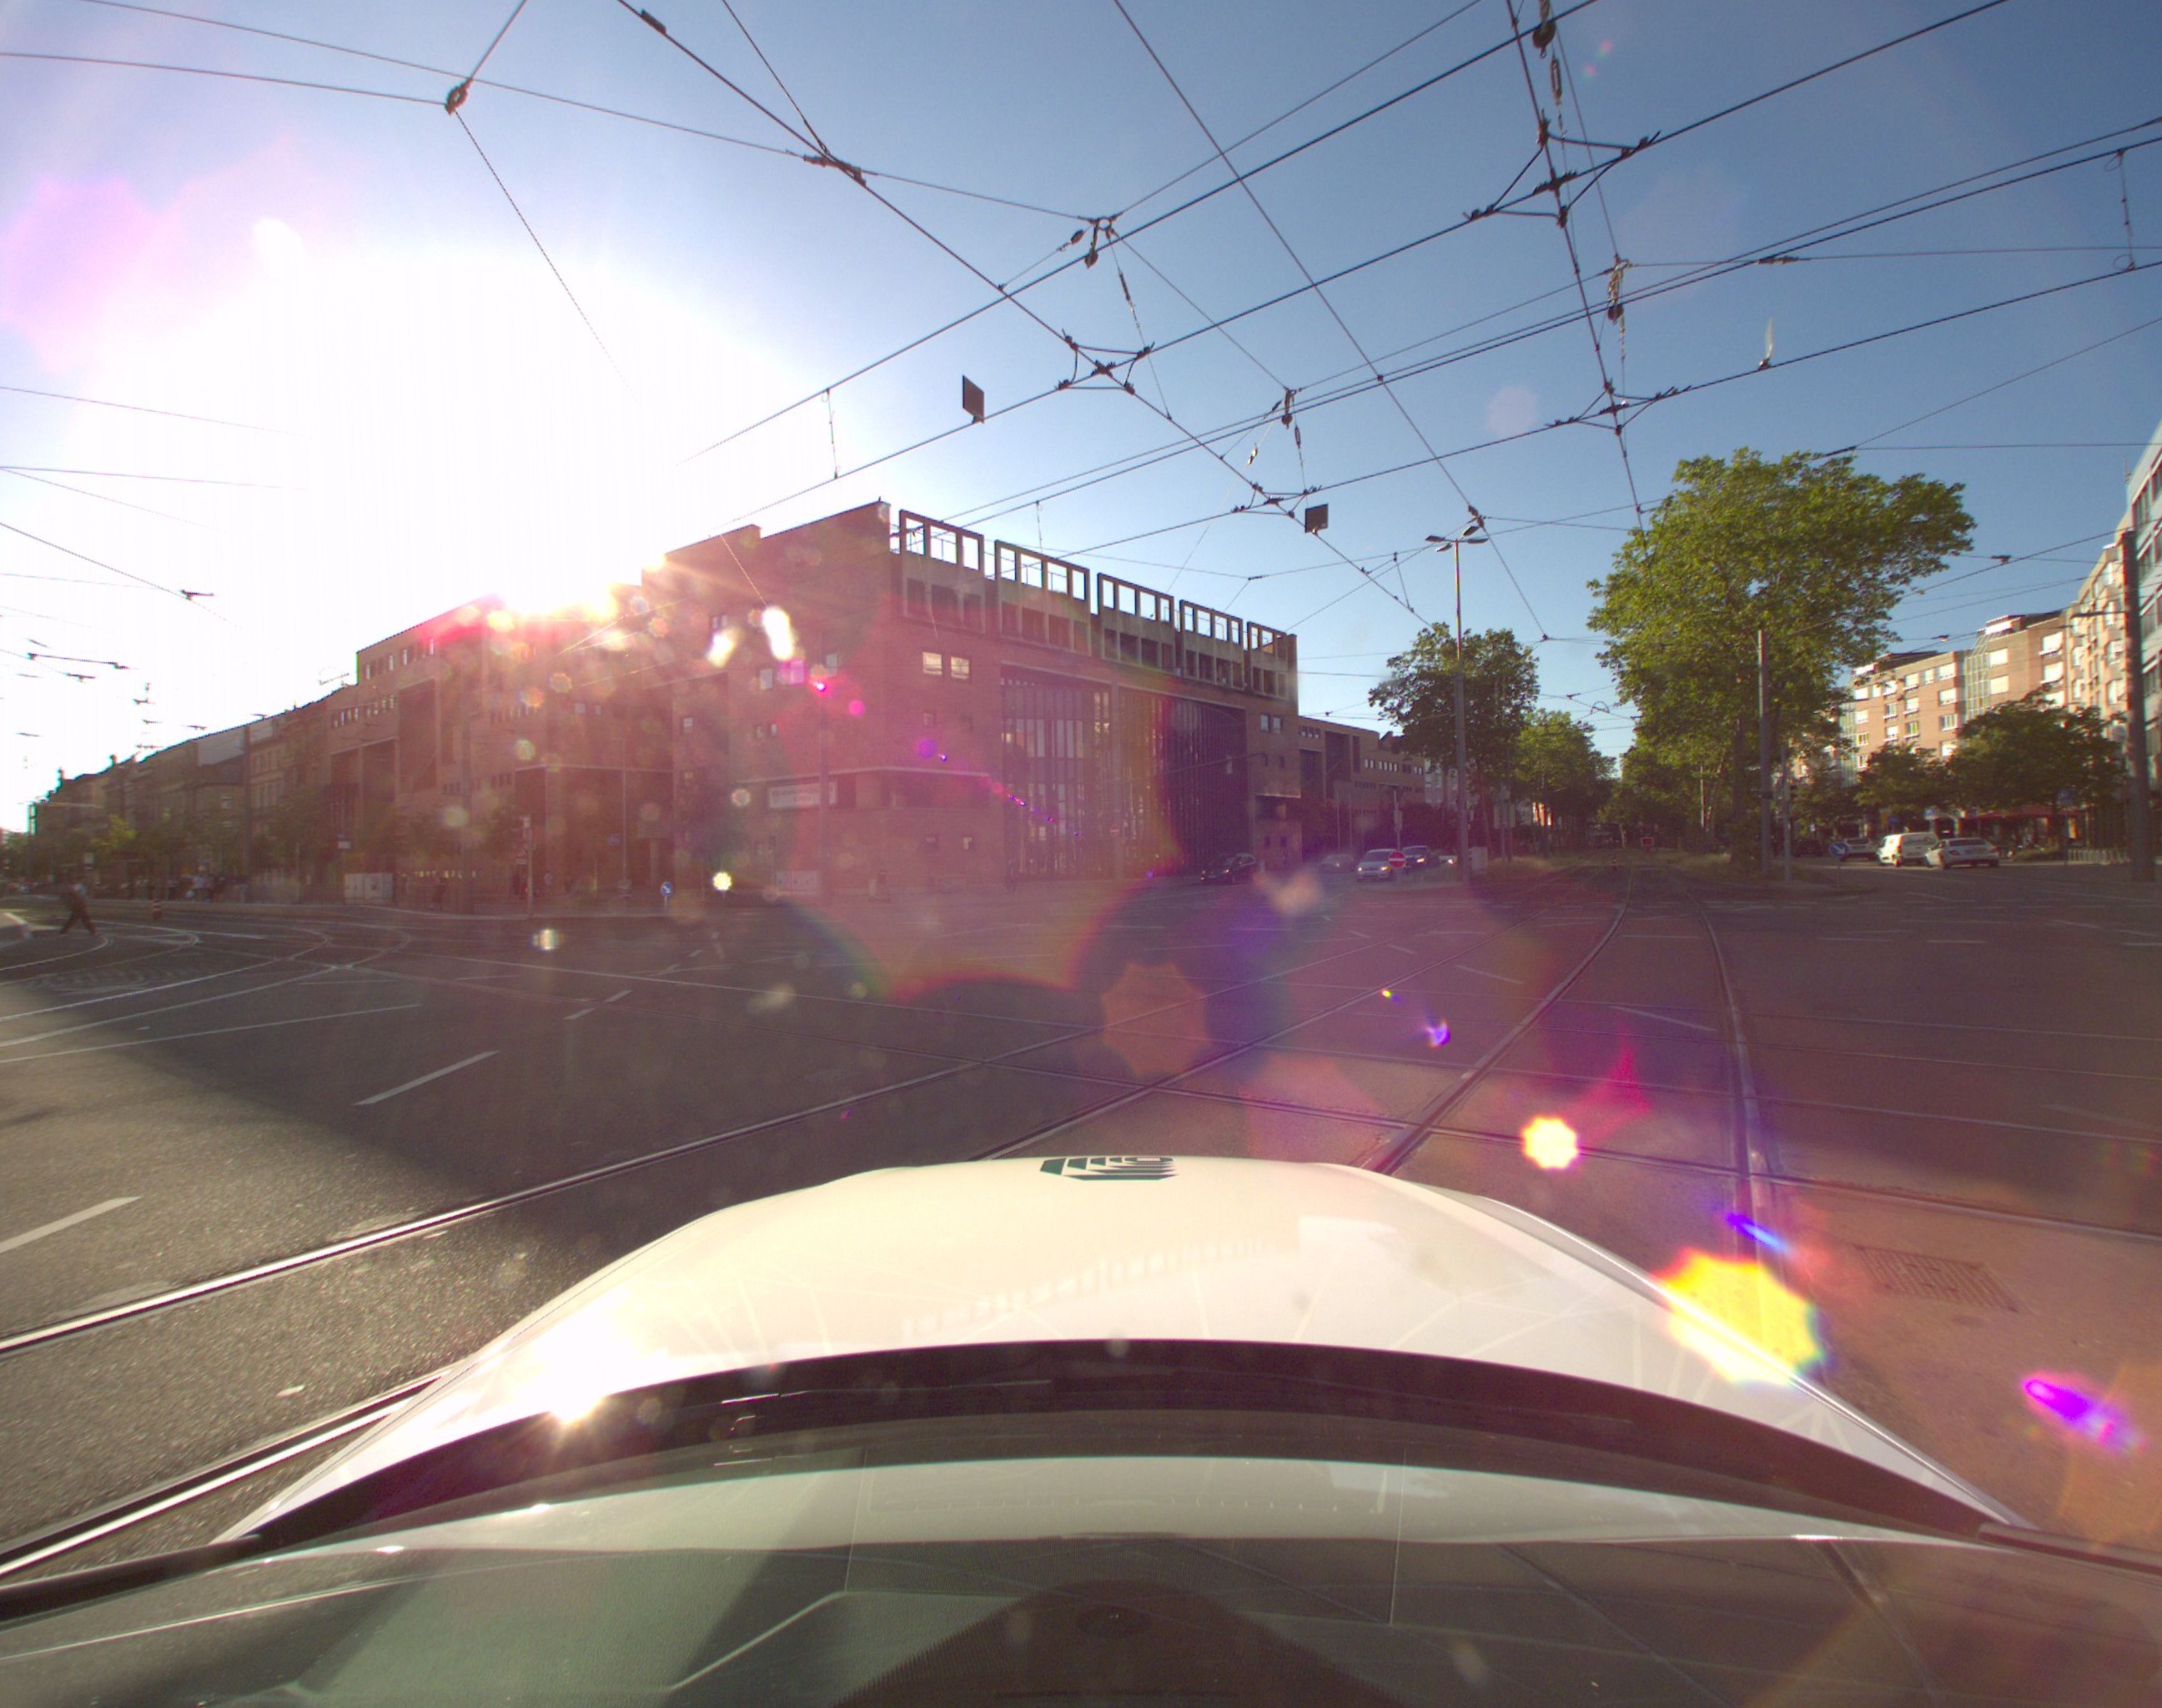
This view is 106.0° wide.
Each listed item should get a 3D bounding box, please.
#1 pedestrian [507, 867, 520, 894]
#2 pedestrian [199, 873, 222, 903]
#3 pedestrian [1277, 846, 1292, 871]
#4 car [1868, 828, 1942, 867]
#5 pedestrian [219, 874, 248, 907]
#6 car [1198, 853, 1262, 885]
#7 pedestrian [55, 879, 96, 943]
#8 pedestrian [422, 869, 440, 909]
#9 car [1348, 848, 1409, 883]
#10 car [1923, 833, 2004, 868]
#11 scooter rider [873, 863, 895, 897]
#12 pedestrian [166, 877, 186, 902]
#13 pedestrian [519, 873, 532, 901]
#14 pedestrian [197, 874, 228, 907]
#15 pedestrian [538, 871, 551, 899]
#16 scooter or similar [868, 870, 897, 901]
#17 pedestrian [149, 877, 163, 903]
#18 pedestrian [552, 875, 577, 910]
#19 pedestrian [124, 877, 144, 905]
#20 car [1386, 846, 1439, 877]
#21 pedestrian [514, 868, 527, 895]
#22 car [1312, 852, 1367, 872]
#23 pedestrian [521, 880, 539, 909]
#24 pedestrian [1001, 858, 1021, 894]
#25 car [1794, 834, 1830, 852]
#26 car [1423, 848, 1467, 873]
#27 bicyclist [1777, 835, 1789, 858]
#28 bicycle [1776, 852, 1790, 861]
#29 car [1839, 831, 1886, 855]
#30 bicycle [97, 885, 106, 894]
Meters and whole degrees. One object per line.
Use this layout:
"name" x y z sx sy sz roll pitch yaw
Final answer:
"pedestrian" -36.396 1.698 52.226 0.459 1.756 0.541 -2 -1 32
"pedestrian" -44.927 1.753 42.042 0.818 1.483 0.689 -2 -1 34
"pedestrian" 16.079 0.356 64.267 0.758 2.014 0.893 -1 -1 -21
"car" 45.773 -0.383 45.341 1.974 2.014 4.413 -2 -1 34
"pedestrian" -44.246 1.899 42.528 0.663 1.672 0.896 -2 -1 31
"car" 8.566 0.824 46.555 1.815 1.654 4.529 -3 -1 35
"pedestrian" -27.963 1.560 22.660 0.768 1.717 0.645 -2 -1 44
"pedestrian" -25.751 1.388 32.272 0.493 1.539 0.544 -1 -1 -43
"car" 15.076 0.560 41.138 1.713 1.597 4.353 -2 -1 35
"car" 42.403 -0.185 39.229 1.835 1.552 4.353 -2 -1 36
"scooter rider" -8.564 1.138 35.438 0.713 1.461 0.511 -2 -1 25
"pedestrian" -58.378 2.304 52.541 0.894 1.562 0.679 -2 -1 32
"pedestrian" -35.383 2.107 51.897 0.687 1.756 0.541 -2 -1 43
"pedestrian" -46.533 1.947 43.620 1.081 1.672 0.896 -2 -1 31
"pedestrian" -34.322 2.004 52.076 0.687 1.756 0.541 -2 -1 43
"scooter or similar" -8.647 1.360 35.473 1.118 1.318 0.532 -2 -1 24
"pedestrian" -61.732 2.405 54.338 0.643 1.732 0.509 -2 -1 32
"pedestrian" -23.650 1.748 37.277 0.841 1.539 0.720 -2 -1 41
"pedestrian" -61.804 2.414 53.157 0.643 1.732 0.726 -2 -1 32
"car" 19.331 0.395 47.391 1.835 1.650 4.353 -2 -1 35
"pedestrian" -36.545 1.802 53.103 0.416 1.756 0.541 -2 -1 35
"car" 19.890 0.619 62.610 4.017 1.376 1.901 -1 0 -35
"pedestrian" -34.735 2.538 51.319 0.686 1.756 0.739 -2 -1 40
"pedestrian" -3.435 1.085 39.920 0.823 1.716 0.661 -2 -1 -15
"car" 67.772 -1.011 75.566 2.240 1.552 4.353 -2 -1 39
"car" 24.182 0.396 54.018 1.835 1.552 4.353 -2 -1 35
"bicyclist" 61.960 -0.662 71.894 0.745 2.013 0.748 -1 0 44
"bicycle" 61.961 0.236 71.893 0.810 0.774 1.740 -2 -1 43
"car" 55.188 -0.784 57.575 1.835 1.552 4.353 -2 -1 36
"bicycle" -163.050 5.898 135.509 2.322 1.402 0.667 -1 0 32
